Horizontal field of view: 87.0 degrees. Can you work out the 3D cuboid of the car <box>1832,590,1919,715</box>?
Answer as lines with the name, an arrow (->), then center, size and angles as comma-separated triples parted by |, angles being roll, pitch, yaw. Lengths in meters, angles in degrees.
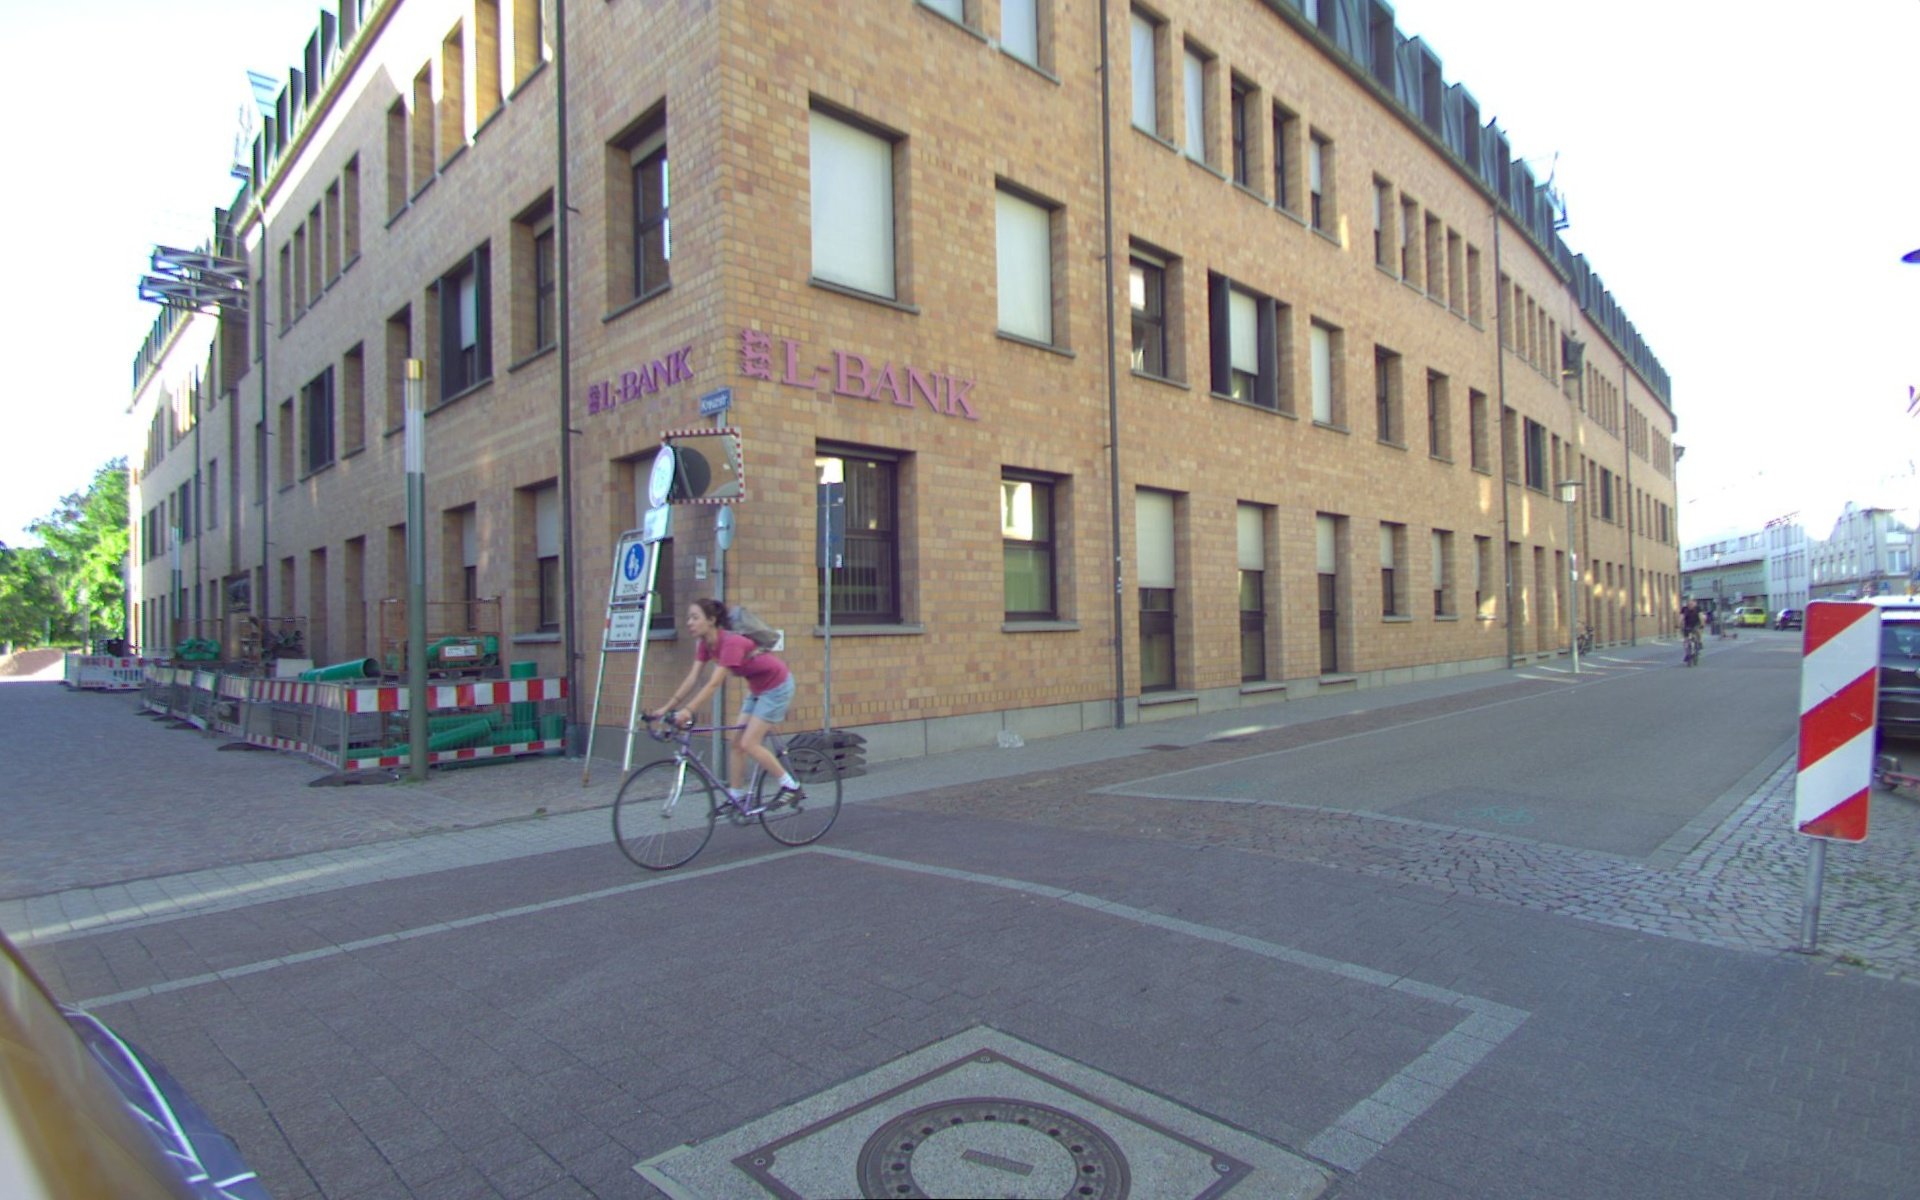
car -> 14.260, 0.726, 15.115 | 1.674, 1.674, 4.022 | 0, -1, 44

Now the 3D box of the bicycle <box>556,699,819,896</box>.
bicycle -> -1.642, 1.155, 6.283 | 0.436, 0.964, 1.567 | -3, -2, 45

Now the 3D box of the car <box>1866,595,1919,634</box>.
car -> 41.412, 0.633, 44.966 | 1.693, 1.692, 3.458 | 0, -1, 42

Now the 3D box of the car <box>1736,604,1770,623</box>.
car -> 73.298, 1.233, 93.595 | 1.928, 1.663, 3.797 | -1, -1, 30

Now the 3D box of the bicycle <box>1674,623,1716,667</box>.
bicycle -> 19.535, 1.183, 26.894 | 0.704, 1.112, 1.803 | -7, -5, 39

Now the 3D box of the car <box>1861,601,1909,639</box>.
car -> 45.094, 0.965, 49.372 | 1.693, 1.789, 3.605 | 0, -1, 42

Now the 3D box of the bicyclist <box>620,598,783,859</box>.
bicyclist -> -1.608, 0.761, 6.343 | 0.428, 1.509, 0.863 | -6, -5, 44

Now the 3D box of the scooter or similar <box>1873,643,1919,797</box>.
scooter or similar -> 7.622, 0.943, 7.882 | 0.206, 1.193, 0.881 | -1, -2, 4

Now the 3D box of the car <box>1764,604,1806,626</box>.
car -> 64.966, 1.200, 79.724 | 1.928, 1.663, 3.797 | -2, -2, 30

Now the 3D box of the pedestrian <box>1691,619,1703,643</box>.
pedestrian -> 49.884, 2.100, 68.499 | 0.543, 1.556, 0.399 | -1, -1, 43

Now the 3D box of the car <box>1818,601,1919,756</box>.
car -> 10.746, 0.767, 11.151 | 1.741, 1.497, 3.756 | 0, 0, 44

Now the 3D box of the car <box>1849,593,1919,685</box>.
car -> 19.192, 0.750, 20.453 | 1.674, 1.717, 3.954 | 0, -1, 44

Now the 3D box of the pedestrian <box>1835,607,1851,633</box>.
pedestrian -> 49.756, 1.123, 57.009 | 0.570, 1.490, 0.468 | -3, -2, 37

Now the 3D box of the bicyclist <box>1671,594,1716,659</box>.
bicyclist -> 19.539, 0.719, 26.955 | 0.772, 1.668, 0.944 | -6, -5, 39

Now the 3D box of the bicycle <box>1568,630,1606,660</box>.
bicycle -> 20.468, 1.441, 33.004 | 0.643, 0.888, 2.521 | -1, -1, 41
